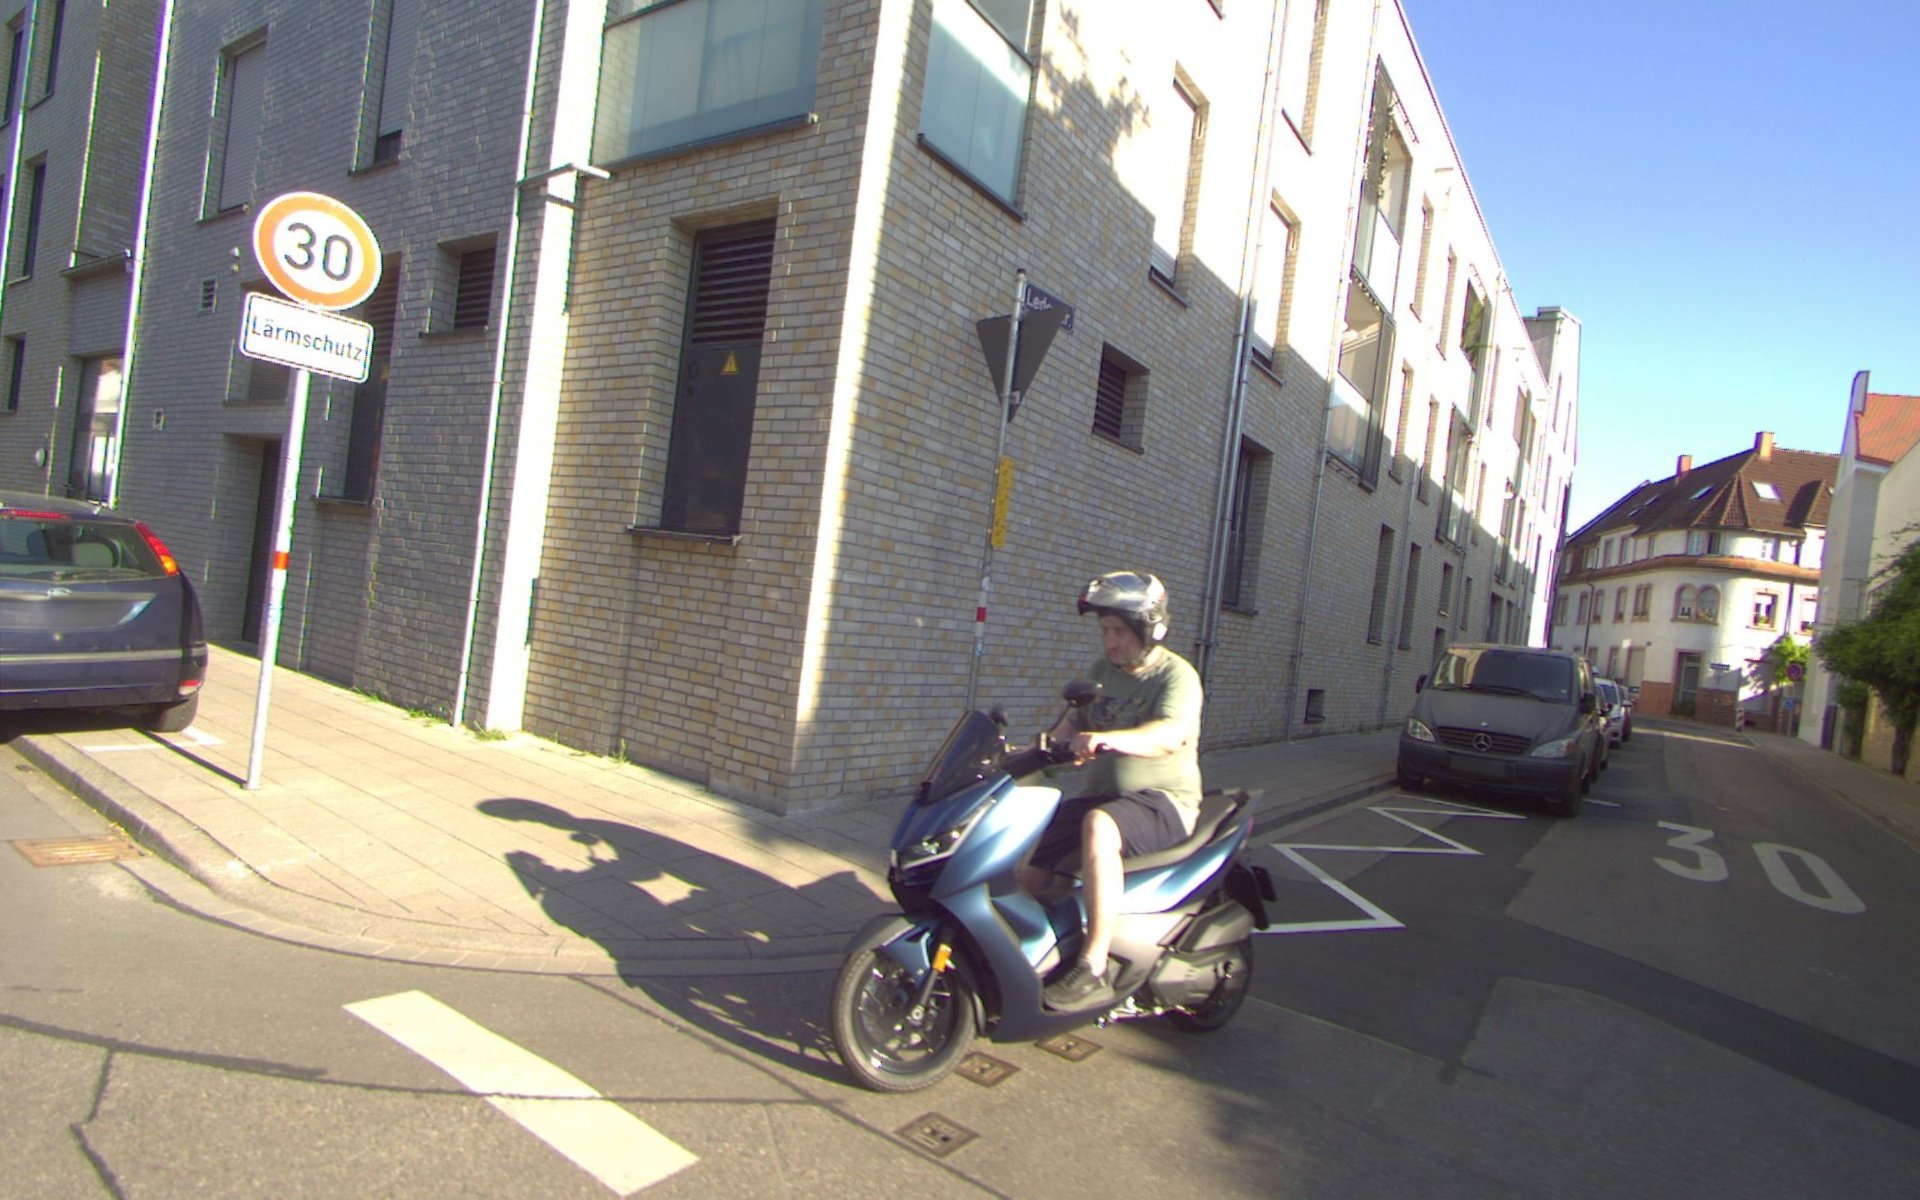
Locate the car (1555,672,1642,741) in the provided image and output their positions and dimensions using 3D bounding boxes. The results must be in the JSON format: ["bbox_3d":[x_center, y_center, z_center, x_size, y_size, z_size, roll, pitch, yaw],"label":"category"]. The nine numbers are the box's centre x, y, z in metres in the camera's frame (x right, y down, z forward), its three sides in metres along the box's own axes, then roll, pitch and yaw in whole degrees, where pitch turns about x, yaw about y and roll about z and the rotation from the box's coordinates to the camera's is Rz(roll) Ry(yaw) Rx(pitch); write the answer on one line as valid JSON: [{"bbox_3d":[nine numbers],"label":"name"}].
[{"bbox_3d":[19.087,3.118,30.000,1.834,1.672,4.443,7,0,35],"label":"car"}]

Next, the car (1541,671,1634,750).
[{"bbox_3d":[15.826,2.725,25.304,1.638,1.621,3.659,7,0,35],"label":"car"}]

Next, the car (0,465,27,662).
[{"bbox_3d":[-10.416,-0.586,9.305,3.851,1.722,1.666,7,-1,34],"label":"car"}]

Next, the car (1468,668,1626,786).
[{"bbox_3d":[10.023,2.040,17.006,1.802,1.496,4.387,7,0,35],"label":"car"}]

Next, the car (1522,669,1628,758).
[{"bbox_3d":[13.781,2.486,22.466,1.638,1.596,3.619,7,0,35],"label":"car"}]

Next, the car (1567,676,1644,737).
[{"bbox_3d":[21.704,3.523,33.768,1.834,1.672,4.443,7,0,35],"label":"car"}]

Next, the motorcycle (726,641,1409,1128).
[{"bbox_3d":[0.444,0.916,3.720,2.314,1.297,0.890,6,0,-28],"label":"motorcycle"}]

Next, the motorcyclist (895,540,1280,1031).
[{"bbox_3d":[0.422,0.602,3.630,0.869,1.490,0.890,7,-1,-27],"label":"motorcyclist"}]

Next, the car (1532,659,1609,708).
[{"bbox_3d":[35.339,4.777,58.411,1.975,2.335,5.606,7,0,14],"label":"car"}]

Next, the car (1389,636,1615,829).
[{"bbox_3d":[7.052,1.486,12.819,1.834,1.804,4.603,7,2,35],"label":"car"}]

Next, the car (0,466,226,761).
[{"bbox_3d":[-6.747,-0.103,6.716,4.003,1.608,1.629,7,2,33],"label":"car"}]
